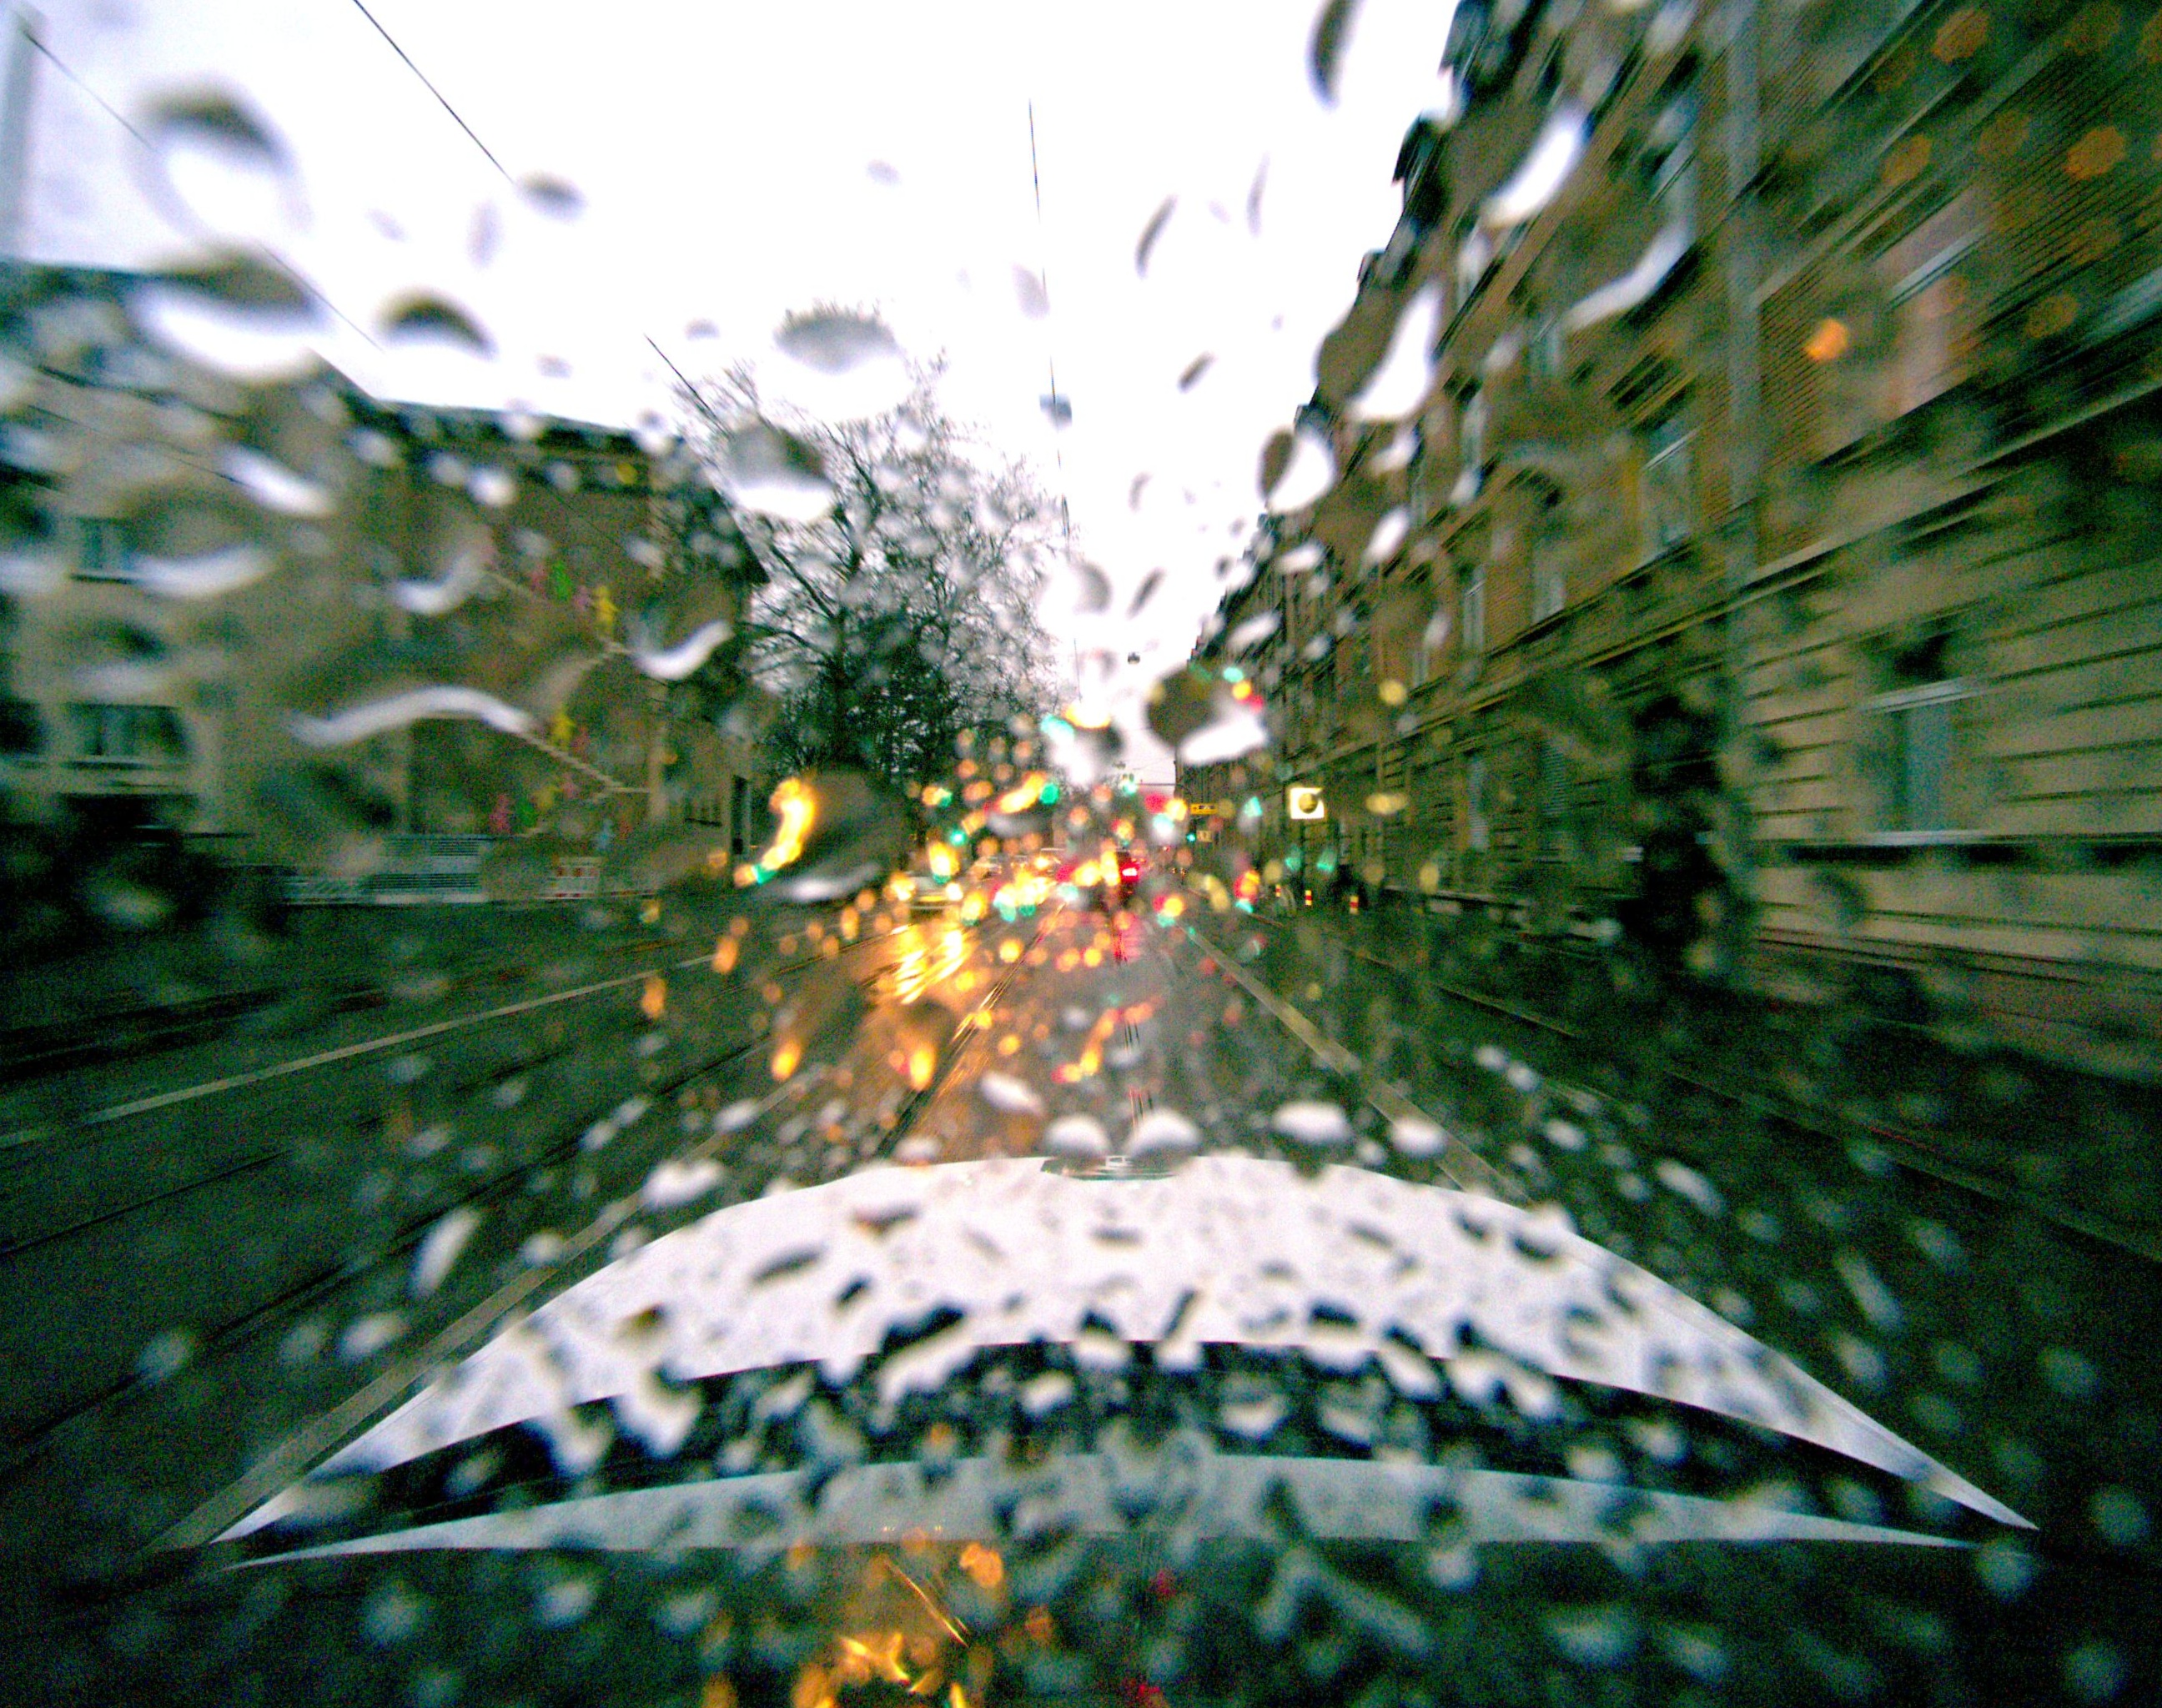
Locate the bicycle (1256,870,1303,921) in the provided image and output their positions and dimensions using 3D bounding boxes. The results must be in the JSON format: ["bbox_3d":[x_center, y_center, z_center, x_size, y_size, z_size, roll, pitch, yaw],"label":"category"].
[{"bbox_3d":[4.861,0.985,20.051,0.681,1.156,2.189,0,-1,2],"label":"bicycle"}]

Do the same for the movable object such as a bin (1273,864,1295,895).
[{"bbox_3d":[7.273,0.899,29.174,0.614,1.080,0.487,-1,0,-27],"label":"movable object such as a bin"}]

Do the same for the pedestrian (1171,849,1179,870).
[{"bbox_3d":[8.473,0.505,73.578,0.713,1.953,0.657,0,-1,2],"label":"pedestrian"}]

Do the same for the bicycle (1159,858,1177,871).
[{"bbox_3d":[7.829,0.915,73.378,0.795,1.144,2.230,1,-1,-17],"label":"bicycle"}]

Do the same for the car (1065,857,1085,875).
[{"bbox_3d":[-0.698,1.418,96.436,1.985,2.014,4.004,0,-1,4],"label":"car"}]

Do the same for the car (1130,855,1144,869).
[{"bbox_3d":[7.793,1.084,112.969,1.984,1.842,4.004,0,0,4],"label":"car"}]

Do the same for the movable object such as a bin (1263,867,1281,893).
[{"bbox_3d":[6.998,0.942,29.871,0.490,0.929,0.422,-1,0,-25],"label":"movable object such as a bin"}]

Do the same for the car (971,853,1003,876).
[{"bbox_3d":[-6.830,0.766,59.747,1.979,1.615,4.425,0,-1,-3],"label":"car"}]

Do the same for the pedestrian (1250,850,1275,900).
[{"bbox_3d":[6.369,0.735,28.643,0.829,1.701,0.956,0,-1,10],"label":"pedestrian"}]

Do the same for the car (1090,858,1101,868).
[{"bbox_3d":[2.913,1.830,161.123,1.986,2.014,4.001,0,-1,2],"label":"car"}]

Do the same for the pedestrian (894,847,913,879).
[{"bbox_3d":[-10.445,0.522,47.952,0.816,1.815,1.011,0,-1,5],"label":"pedestrian"}]

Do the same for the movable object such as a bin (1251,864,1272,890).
[{"bbox_3d":[7.288,0.922,32.906,0.759,1.038,0.602,-1,0,16],"label":"movable object such as a bin"}]

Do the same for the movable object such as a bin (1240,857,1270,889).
[{"bbox_3d":[7.231,0.781,33.984,0.886,1.288,1.260,-1,0,-5],"label":"movable object such as a bin"}]

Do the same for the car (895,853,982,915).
[{"bbox_3d":[-3.615,0.717,21.245,1.524,1.481,3.562,0,0,2],"label":"car"}]

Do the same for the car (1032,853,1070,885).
[{"bbox_3d":[-2.274,1.118,63.686,2.437,2.347,5.847,-1,-1,2],"label":"car"}]

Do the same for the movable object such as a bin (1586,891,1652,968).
[{"bbox_3d":[6.841,0.952,10.367,0.505,0.931,0.507,0,0,0],"label":"movable object such as a bin"}]

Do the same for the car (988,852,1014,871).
[{"bbox_3d":[-6.882,0.667,70.137,1.979,1.615,4.425,0,-1,-3],"label":"car"}]

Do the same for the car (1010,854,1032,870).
[{"bbox_3d":[-6.009,0.788,81.813,1.979,1.615,4.425,0,-1,-3],"label":"car"}]

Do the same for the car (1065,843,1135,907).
[{"bbox_3d":[0.682,0.619,25.674,1.984,1.842,4.005,0,0,4],"label":"car"}]
